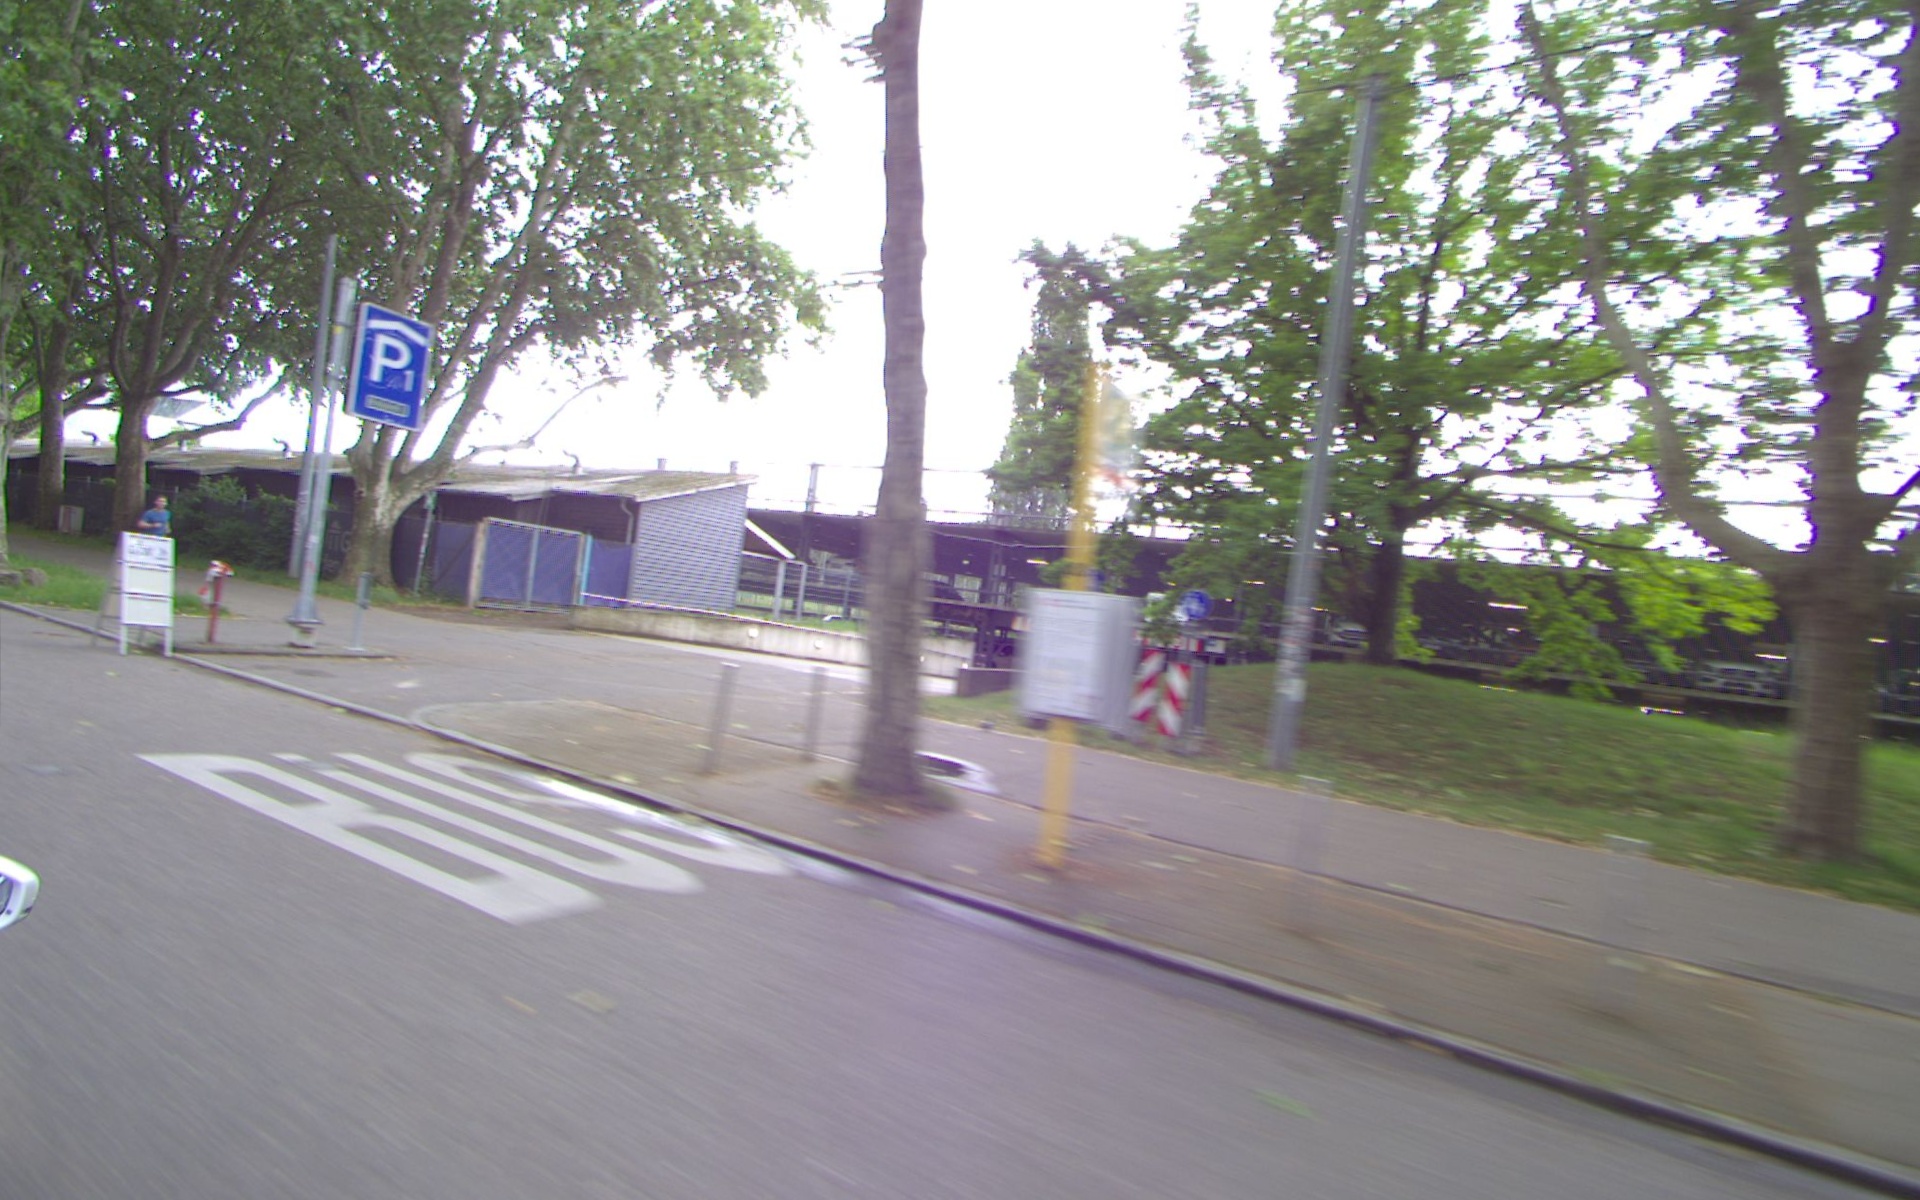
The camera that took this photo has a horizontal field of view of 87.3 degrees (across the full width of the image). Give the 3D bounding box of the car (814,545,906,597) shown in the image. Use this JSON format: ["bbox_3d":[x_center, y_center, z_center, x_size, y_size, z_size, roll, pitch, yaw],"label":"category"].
[{"bbox_3d":[-4.499,-1.302,45.954,1.950,1.692,4.271,7,-2,29],"label":"car"}]

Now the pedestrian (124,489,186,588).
[{"bbox_3d":[-17.614,-1.352,22.012,0.869,2.037,0.709,7,-1,40],"label":"pedestrian"}]
